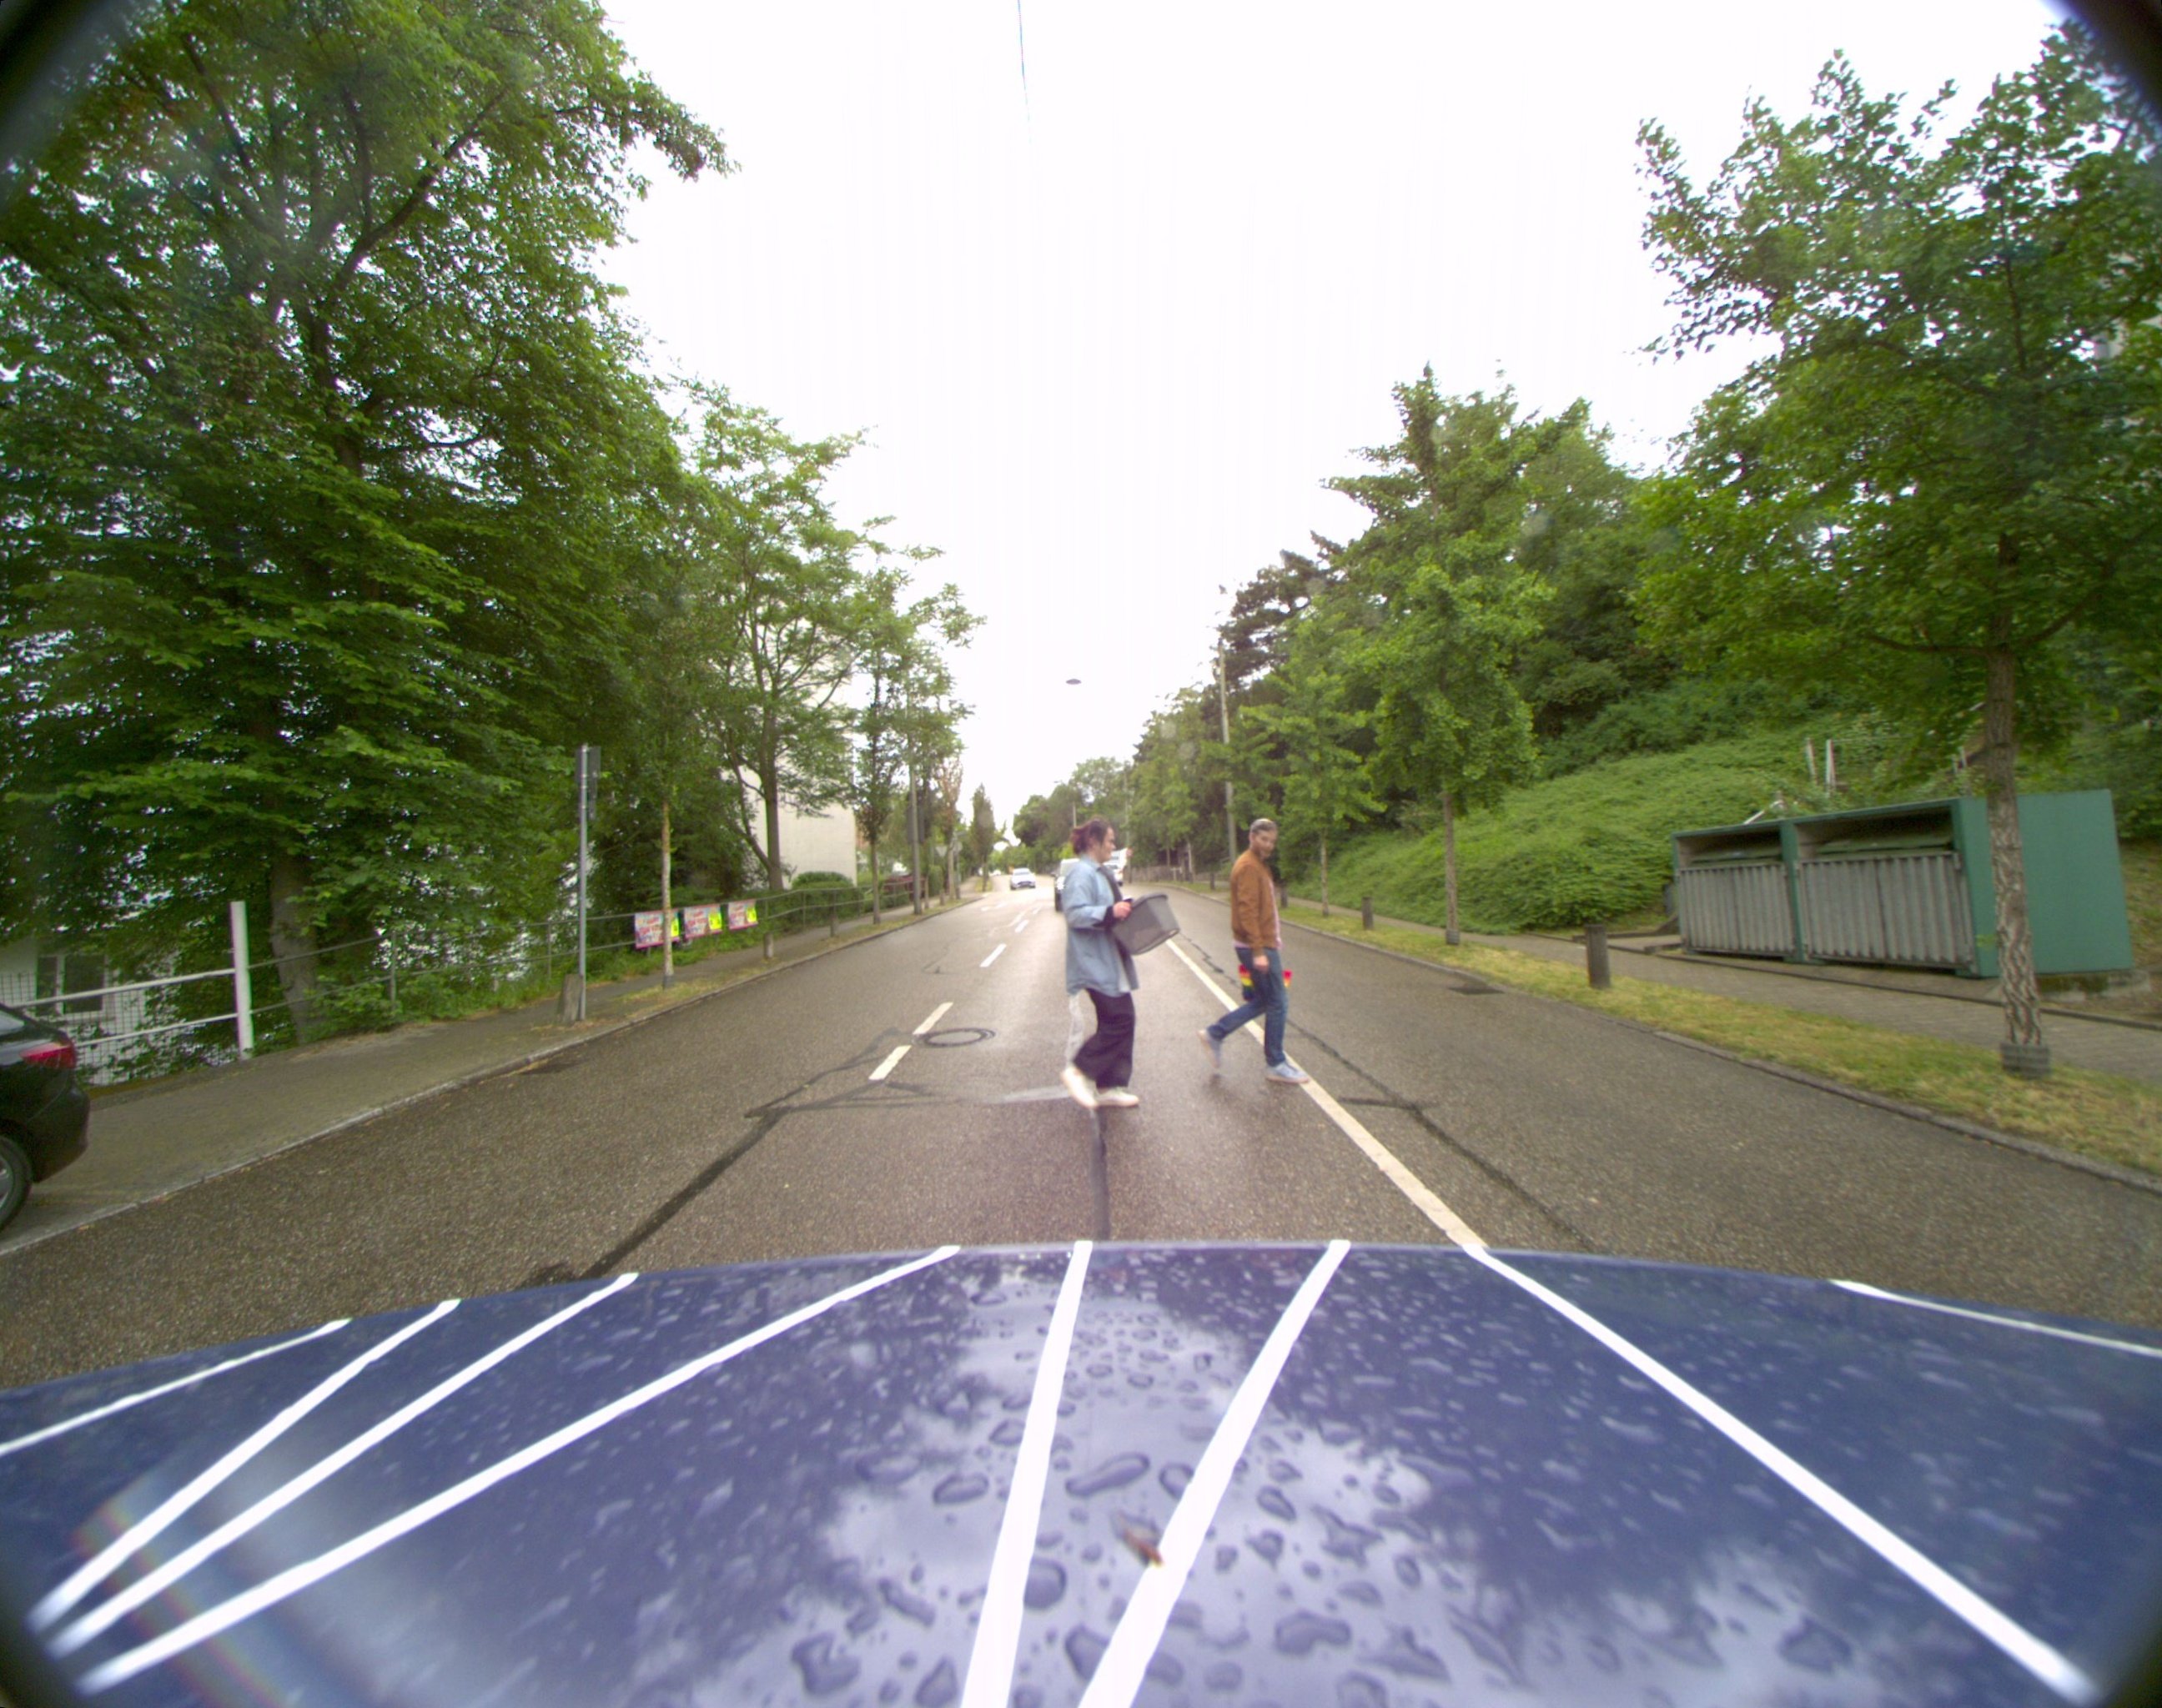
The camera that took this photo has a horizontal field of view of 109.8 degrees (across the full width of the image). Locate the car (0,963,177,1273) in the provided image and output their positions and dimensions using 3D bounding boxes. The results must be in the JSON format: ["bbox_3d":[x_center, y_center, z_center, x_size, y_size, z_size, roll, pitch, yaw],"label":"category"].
[{"bbox_3d":[-6.315,1.369,2.239,1.999,1.426,4.442,-1,0,-1],"label":"car"}]

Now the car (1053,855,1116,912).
[{"bbox_3d":[0.127,0.901,25.306,1.834,1.608,4.292,-3,1,1],"label":"car"}]

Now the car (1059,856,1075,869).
[{"bbox_3d":[-1.620,0.995,90.879,1.782,1.440,4.000,0,0,0],"label":"car"}]

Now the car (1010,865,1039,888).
[{"bbox_3d":[-4.631,1.805,61.642,1.836,1.608,4.347,-3,1,-10],"label":"car"}]

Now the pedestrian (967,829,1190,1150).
[{"bbox_3d":[0.026,0.772,4.690,1.071,1.772,0.825,-4,1,14],"label":"pedestrian"}]

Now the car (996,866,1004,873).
[{"bbox_3d":[-20.003,3.759,187.700,1.892,1.710,4.235,-1,0,-5],"label":"car"}]

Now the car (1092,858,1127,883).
[{"bbox_3d":[1.792,1.029,48.243,1.714,1.522,3.840,0,0,-6],"label":"car"}]

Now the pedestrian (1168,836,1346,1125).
[{"bbox_3d":[1.204,0.783,5.190,1.071,1.772,0.825,-1,1,15],"label":"pedestrian"}]
